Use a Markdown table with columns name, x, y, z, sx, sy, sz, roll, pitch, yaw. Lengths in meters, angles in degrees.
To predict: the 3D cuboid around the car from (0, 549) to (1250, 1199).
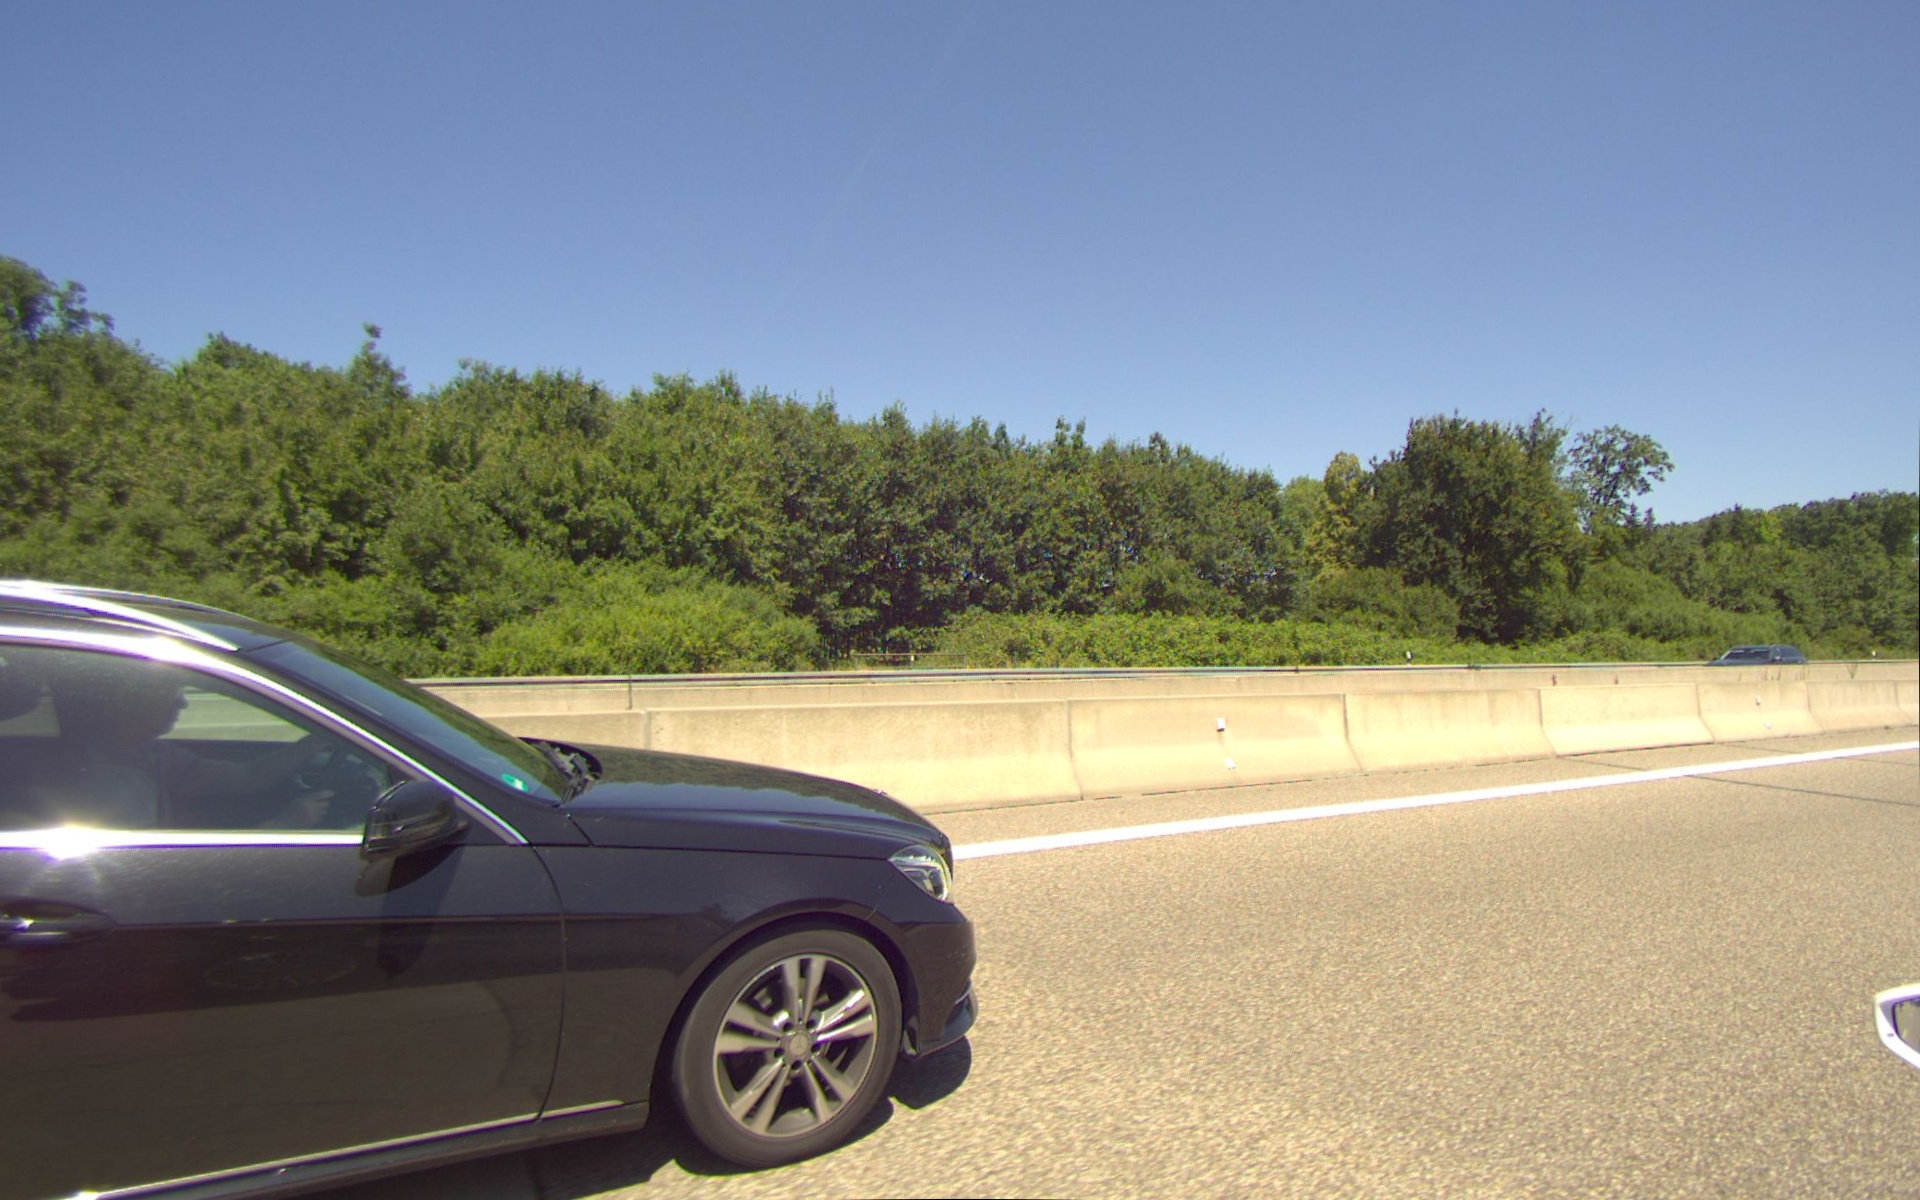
| name | x | y | z | sx | sy | sz | roll | pitch | yaw |
| --- | --- | --- | --- | --- | --- | --- | --- | --- | --- |
| car | -1.855 | 0.674 | 2.843 | 5.538 | 1.493 | 1.882 | 1 | -1 | -31 |

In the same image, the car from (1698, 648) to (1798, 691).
| name | x | y | z | sx | sy | sz | roll | pitch | yaw |
| --- | --- | --- | --- | --- | --- | --- | --- | --- | --- |
| car | 28.127 | 2.456 | 35.837 | 3.481 | 1.437 | 1.624 | 2 | -2 | -30 |

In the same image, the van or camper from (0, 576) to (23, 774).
| name | x | y | z | sx | sy | sz | roll | pitch | yaw |
| --- | --- | --- | --- | --- | --- | --- | --- | --- | --- |
| van or camper | -10.908 | 0.665 | 8.232 | 4.366 | 1.907 | 1.838 | 2 | -2 | -31 |
